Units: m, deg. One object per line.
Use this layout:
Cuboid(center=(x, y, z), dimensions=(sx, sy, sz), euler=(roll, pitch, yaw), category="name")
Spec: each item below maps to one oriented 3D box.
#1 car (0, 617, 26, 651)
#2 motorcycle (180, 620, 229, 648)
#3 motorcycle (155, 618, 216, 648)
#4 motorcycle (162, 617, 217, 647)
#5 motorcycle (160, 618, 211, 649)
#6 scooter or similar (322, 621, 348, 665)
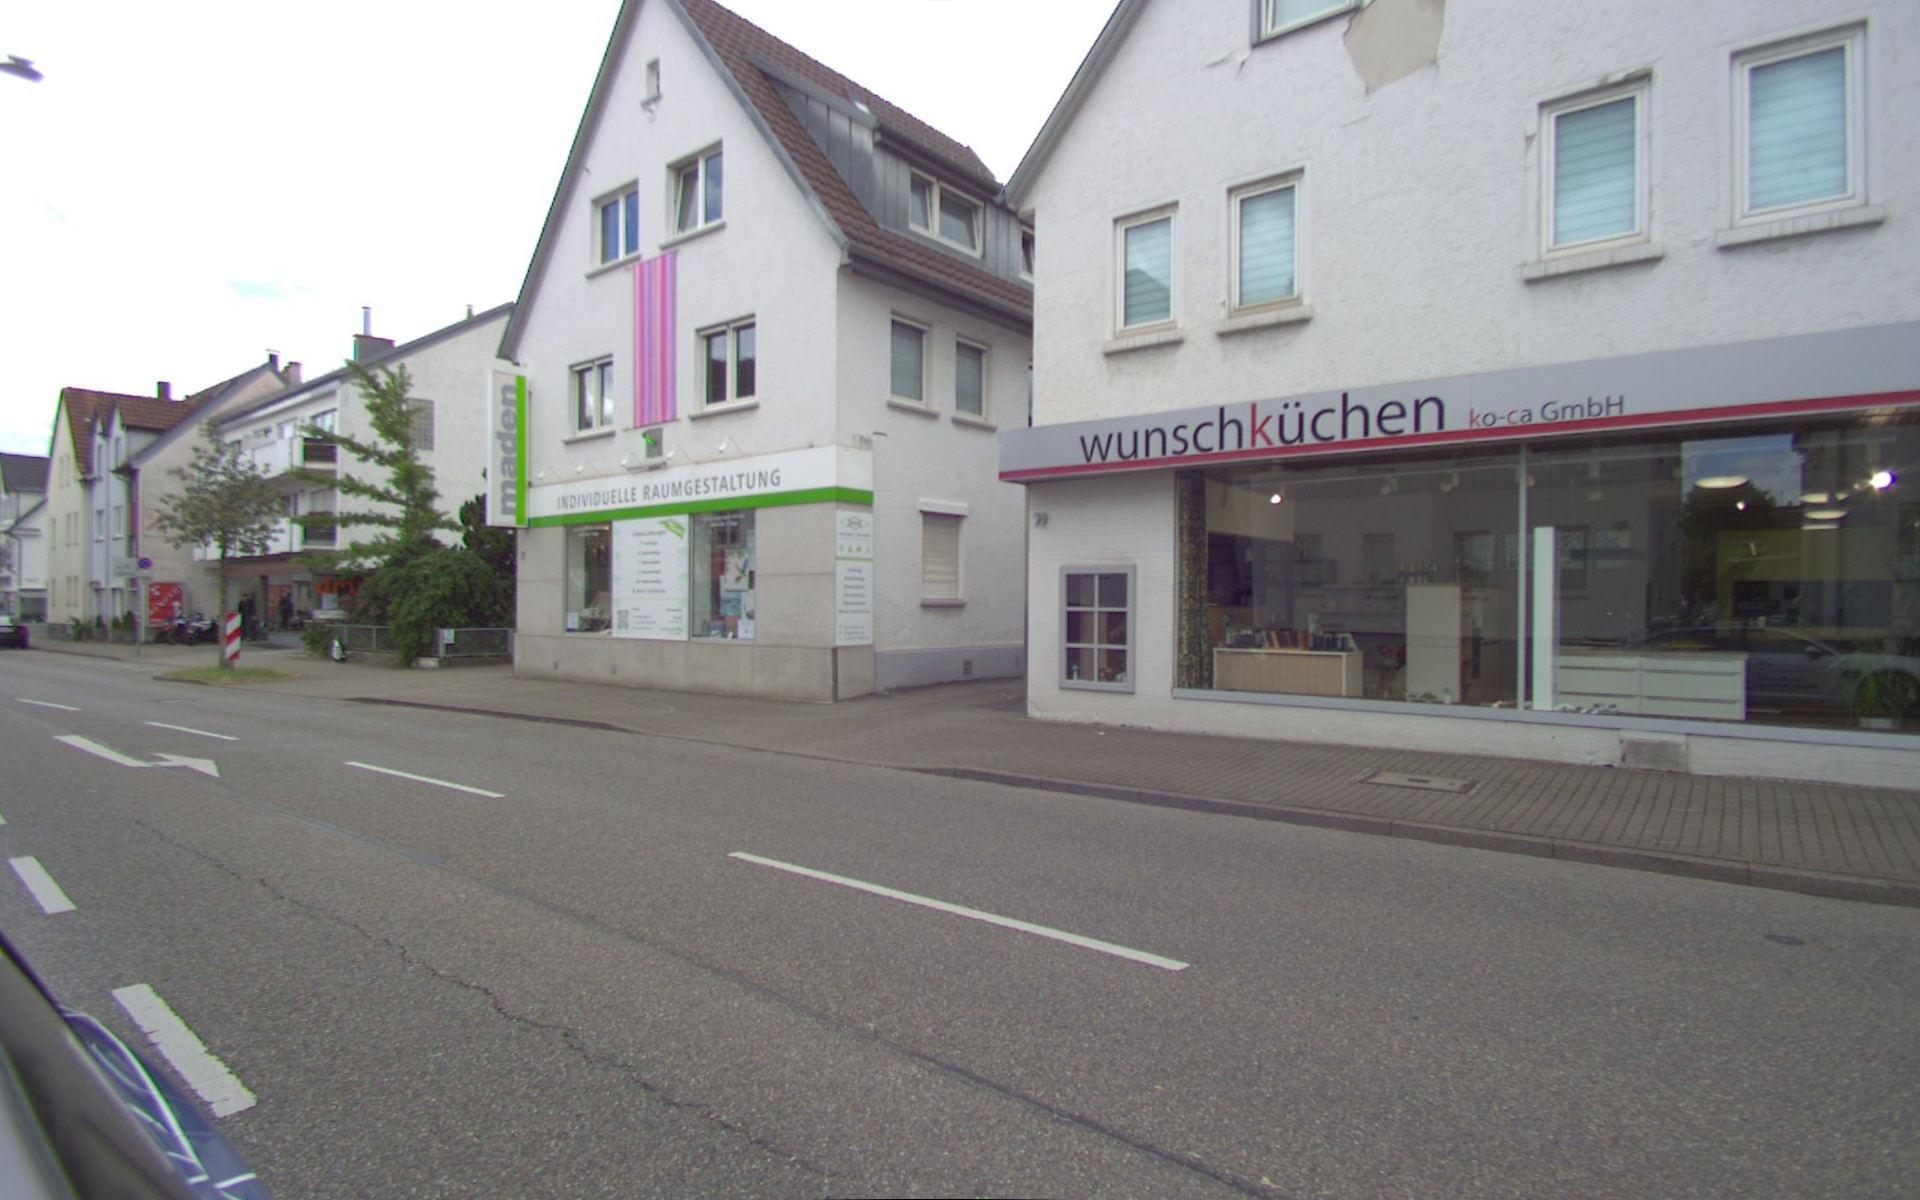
Cuboid(center=(-40.746, 1.410, 42.461), dimensions=(3.993, 1.423, 1.614), euler=(-1, -2, 37), category="car")
Cuboid(center=(-29.211, 1.307, 39.128), dimensions=(0.525, 1.030, 1.411), euler=(-1, 1, 40), category="motorcycle")
Cuboid(center=(-30.668, 1.288, 40.094), dimensions=(0.504, 1.114, 1.811), euler=(-1, 1, 40), category="motorcycle")
Cuboid(center=(-31.068, 1.287, 40.833), dimensions=(0.558, 1.114, 1.657), euler=(-1, 1, 40), category="motorcycle")
Cuboid(center=(-30.089, 1.286, 39.324), dimensions=(1.494, 1.114, 0.590), euler=(-2, 1, -44), category="motorcycle")
Cuboid(center=(-16.581, 1.118, 26.848), dimensions=(0.458, 1.132, 1.832), euler=(-1, -1, -35), category="scooter or similar")
